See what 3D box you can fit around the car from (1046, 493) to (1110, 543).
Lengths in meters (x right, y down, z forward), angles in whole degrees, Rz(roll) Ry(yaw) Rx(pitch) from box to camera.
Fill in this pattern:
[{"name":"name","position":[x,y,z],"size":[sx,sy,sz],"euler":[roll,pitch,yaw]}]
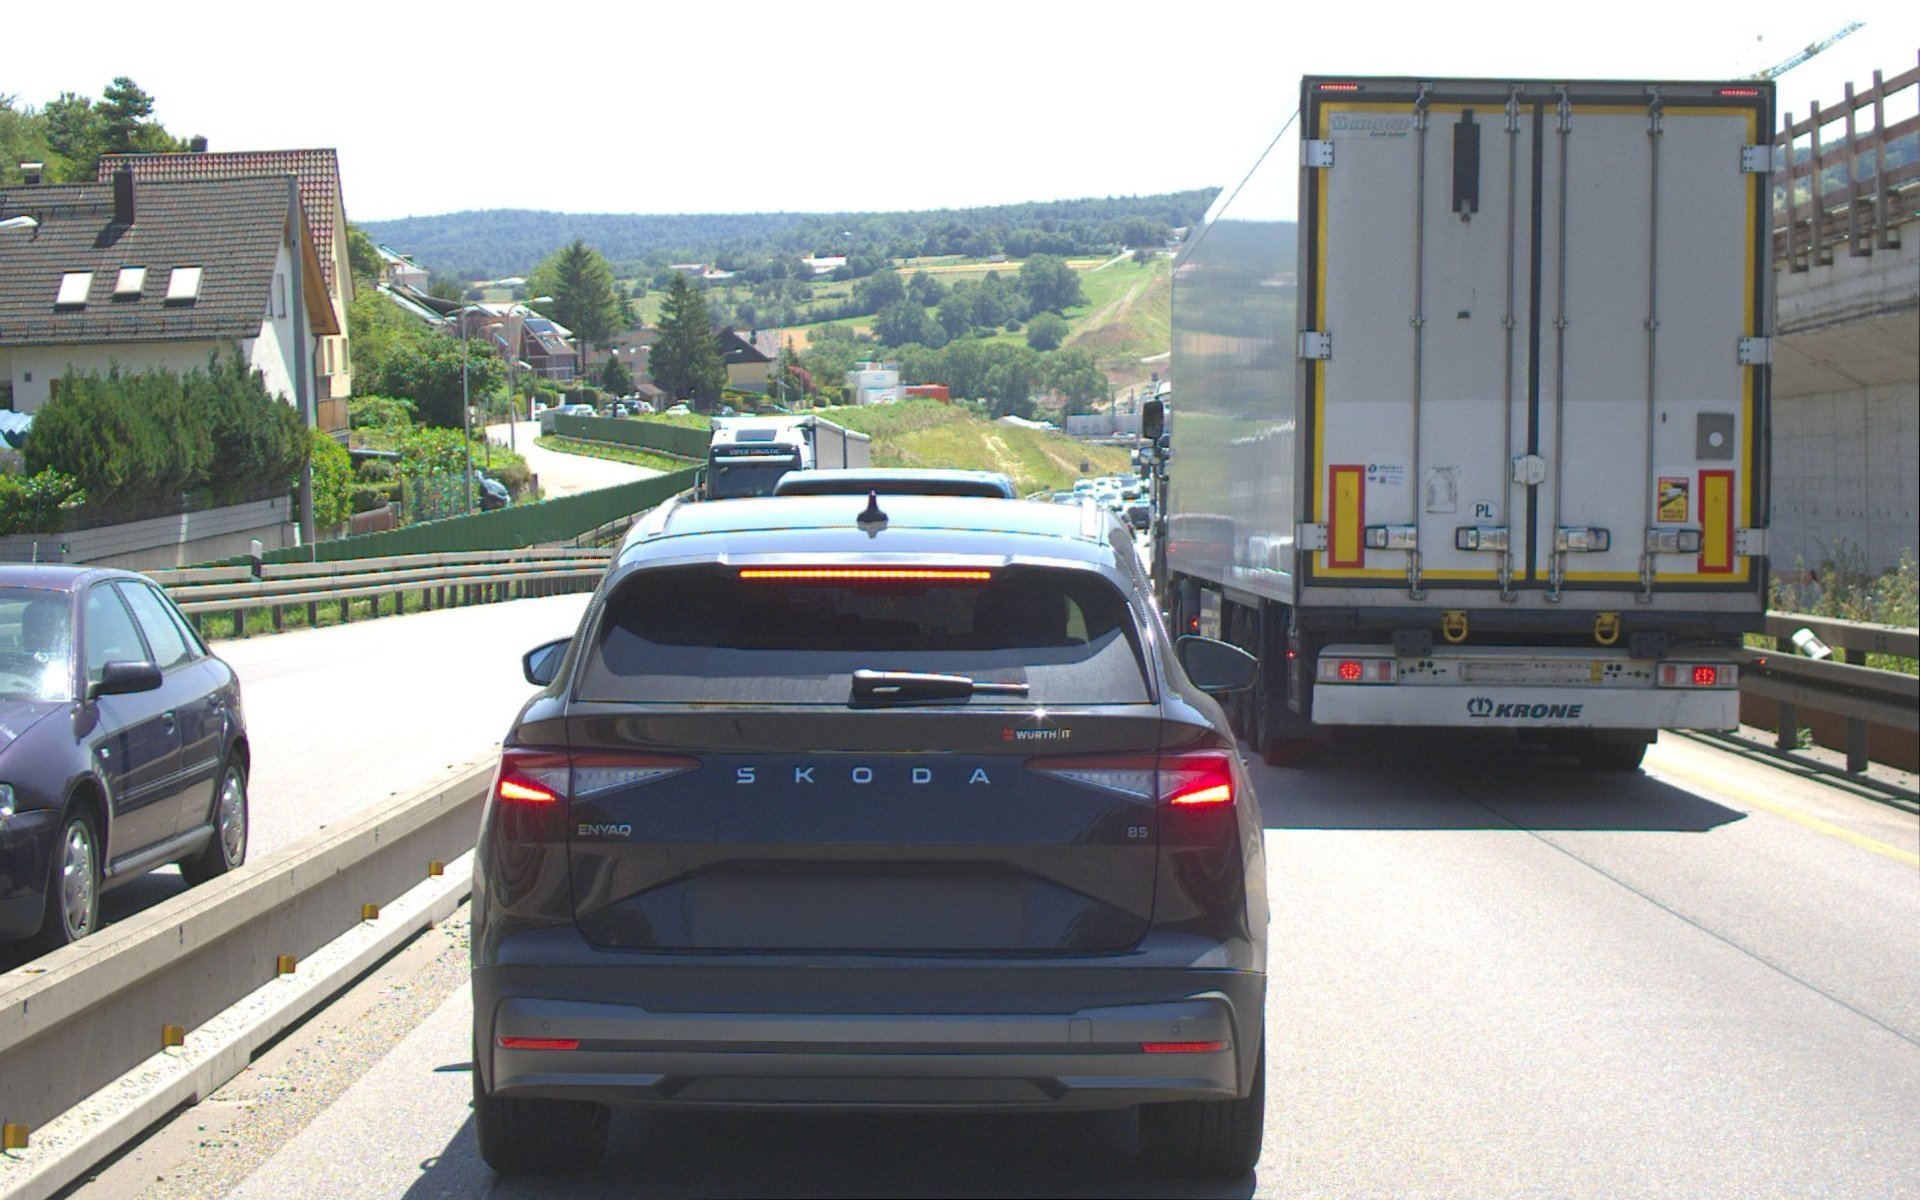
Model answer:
[{"name":"car","position":[3.903,-2.703,114.280],"size":[1.993,1.579,3.836],"euler":[1,0,0]}]

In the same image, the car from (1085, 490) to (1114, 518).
[{"name":"car","position":[8.851,-6.097,218.298],"size":[1.701,1.722,3.836],"euler":[1,0,4]}]

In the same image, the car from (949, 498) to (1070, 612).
[{"name":"car","position":[0.719,-0.714,52.194],"size":[1.707,1.616,4.001],"euler":[1,2,-1]}]

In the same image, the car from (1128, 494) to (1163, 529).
[{"name":"car","position":[9.512,-4.534,176.231],"size":[1.701,1.722,3.836],"euler":[1,0,4]}]

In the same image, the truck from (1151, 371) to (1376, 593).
[{"name":"truck","position":[4.730,-1.756,56.033],"size":[3.195,3.180,12.807],"euler":[0,0,3]}]

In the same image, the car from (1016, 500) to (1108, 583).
[{"name":"car","position":[2.077,-1.223,70.975],"size":[1.707,1.616,4.001],"euler":[1,2,-1]}]

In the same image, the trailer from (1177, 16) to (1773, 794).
[{"name":"trailer","position":[3.110,-1.089,24.110],"size":[2.532,4.113,11.548],"euler":[1,0,1]}]

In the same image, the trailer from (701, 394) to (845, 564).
[{"name":"trailer","position":[-4.649,-3.066,86.979],"size":[2.757,4.056,8.007],"euler":[1,2,3]}]

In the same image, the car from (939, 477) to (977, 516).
[{"name":"car","position":[-0.073,-4.808,160.047],"size":[1.701,1.722,3.836],"euler":[1,0,0]}]

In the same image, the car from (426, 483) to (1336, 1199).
[{"name":"car","position":[-0.294,0.547,8.975],"size":[1.842,1.581,3.908],"euler":[1,0,-4]}]

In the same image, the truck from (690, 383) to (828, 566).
[{"name":"truck","position":[-4.825,-3.029,83.318],"size":[2.752,4.268,4.957],"euler":[1,2,3]}]

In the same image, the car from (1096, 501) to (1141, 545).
[{"name":"car","position":[6.471,-3.127,139.954],"size":[1.701,1.722,3.836],"euler":[1,0,4]}]

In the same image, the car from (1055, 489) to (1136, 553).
[{"name":"car","position":[3.537,-2.059,90.459],"size":[1.993,1.579,3.836],"euler":[1,0,0]}]

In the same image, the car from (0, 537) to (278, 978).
[{"name":"car","position":[-3.908,0.492,13.261],"size":[1.718,1.403,4.000],"euler":[-1,2,0]}]

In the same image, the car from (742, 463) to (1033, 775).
[{"name":"car","position":[-0.566,0.048,22.902],"size":[1.706,1.875,4.001],"euler":[1,2,-4]}]

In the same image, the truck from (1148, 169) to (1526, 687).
[{"name":"truck","position":[3.171,-1.377,30.993],"size":[2.513,4.011,8.238],"euler":[1,0,0]}]
